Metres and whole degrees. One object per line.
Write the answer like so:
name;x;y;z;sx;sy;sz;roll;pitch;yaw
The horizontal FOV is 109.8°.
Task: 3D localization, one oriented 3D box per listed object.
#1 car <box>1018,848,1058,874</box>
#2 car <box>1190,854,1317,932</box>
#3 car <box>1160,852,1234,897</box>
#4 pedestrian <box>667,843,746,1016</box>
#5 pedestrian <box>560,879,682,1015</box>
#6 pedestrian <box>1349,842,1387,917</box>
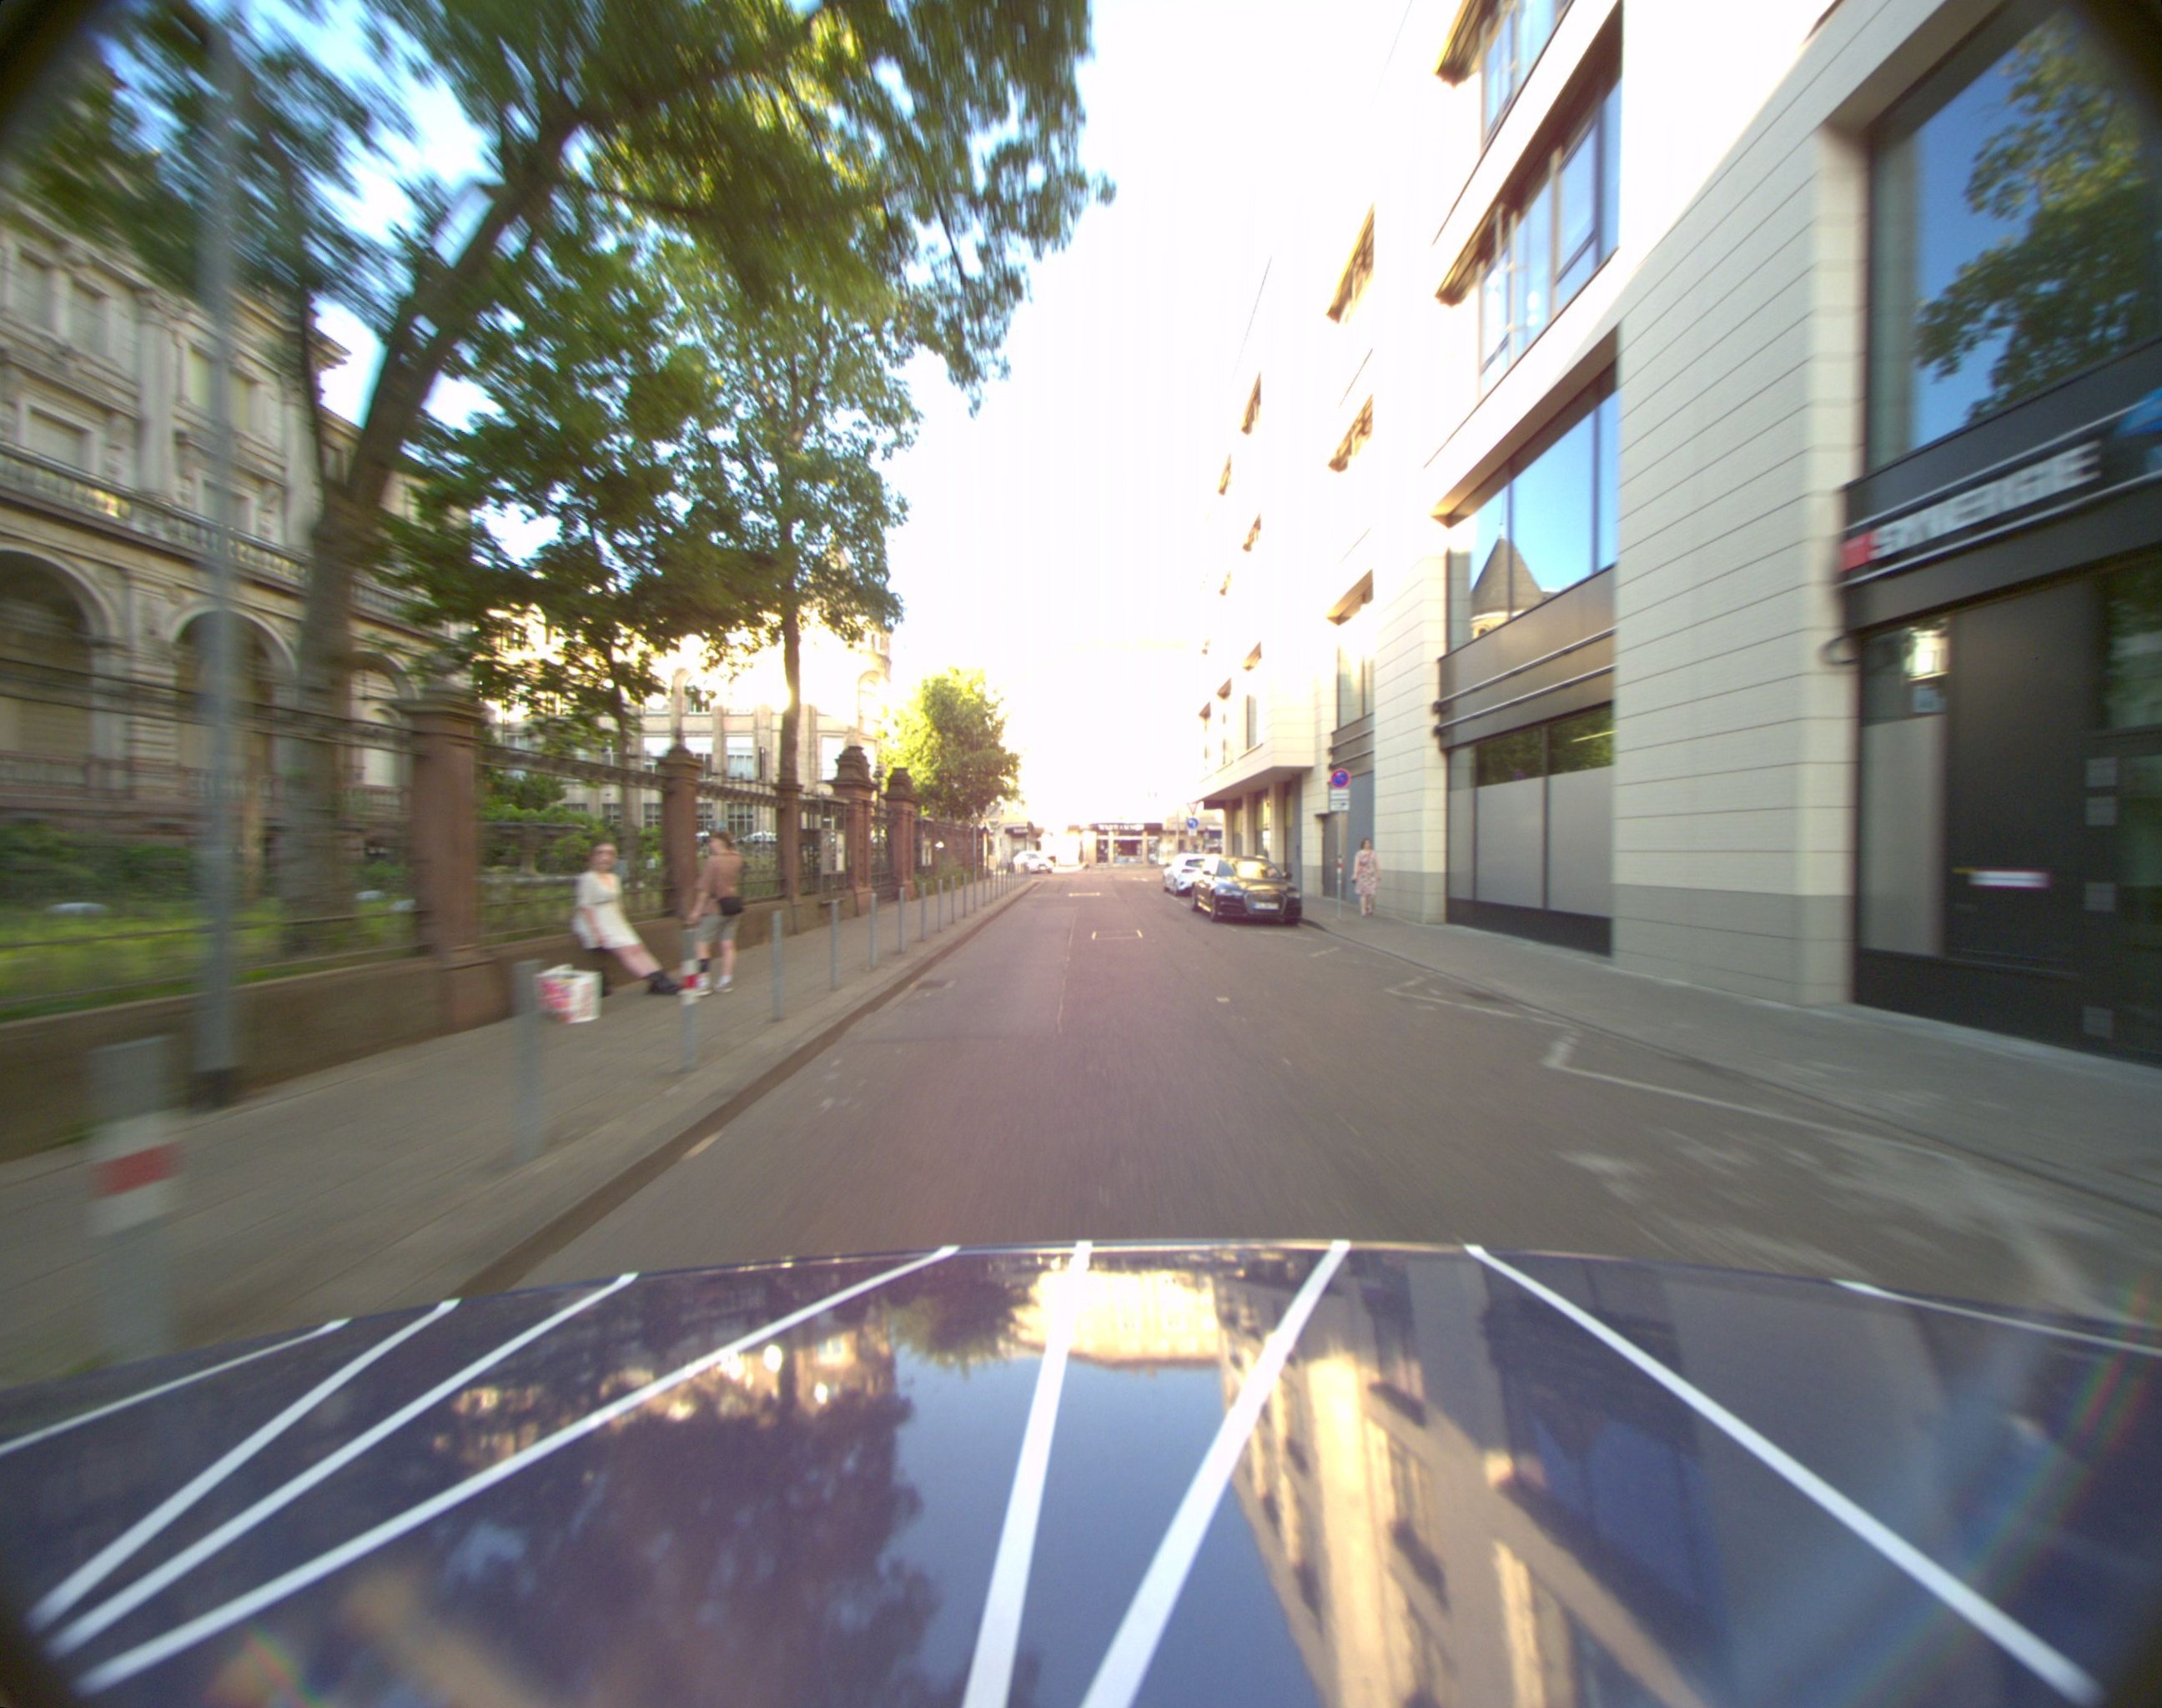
car;-2.863;0.442;49.956;1.791;1.516;3.994;-2;1;-16
car;3.804;0.795;17.615;1.998;1.409;4.558;1;2;2
car;4.022;0.673;26.836;1.818;1.440;3.628;1;1;-3
pedestrian;-3.701;0.719;7.534;0.437;1.637;0.557;2;1;7
pedestrian;-4.388;0.879;7.276;0.928;1.242;0.362;1;1;-3
pedestrian;6.368;0.557;16.887;0.620;1.616;0.565;-1;1;1
